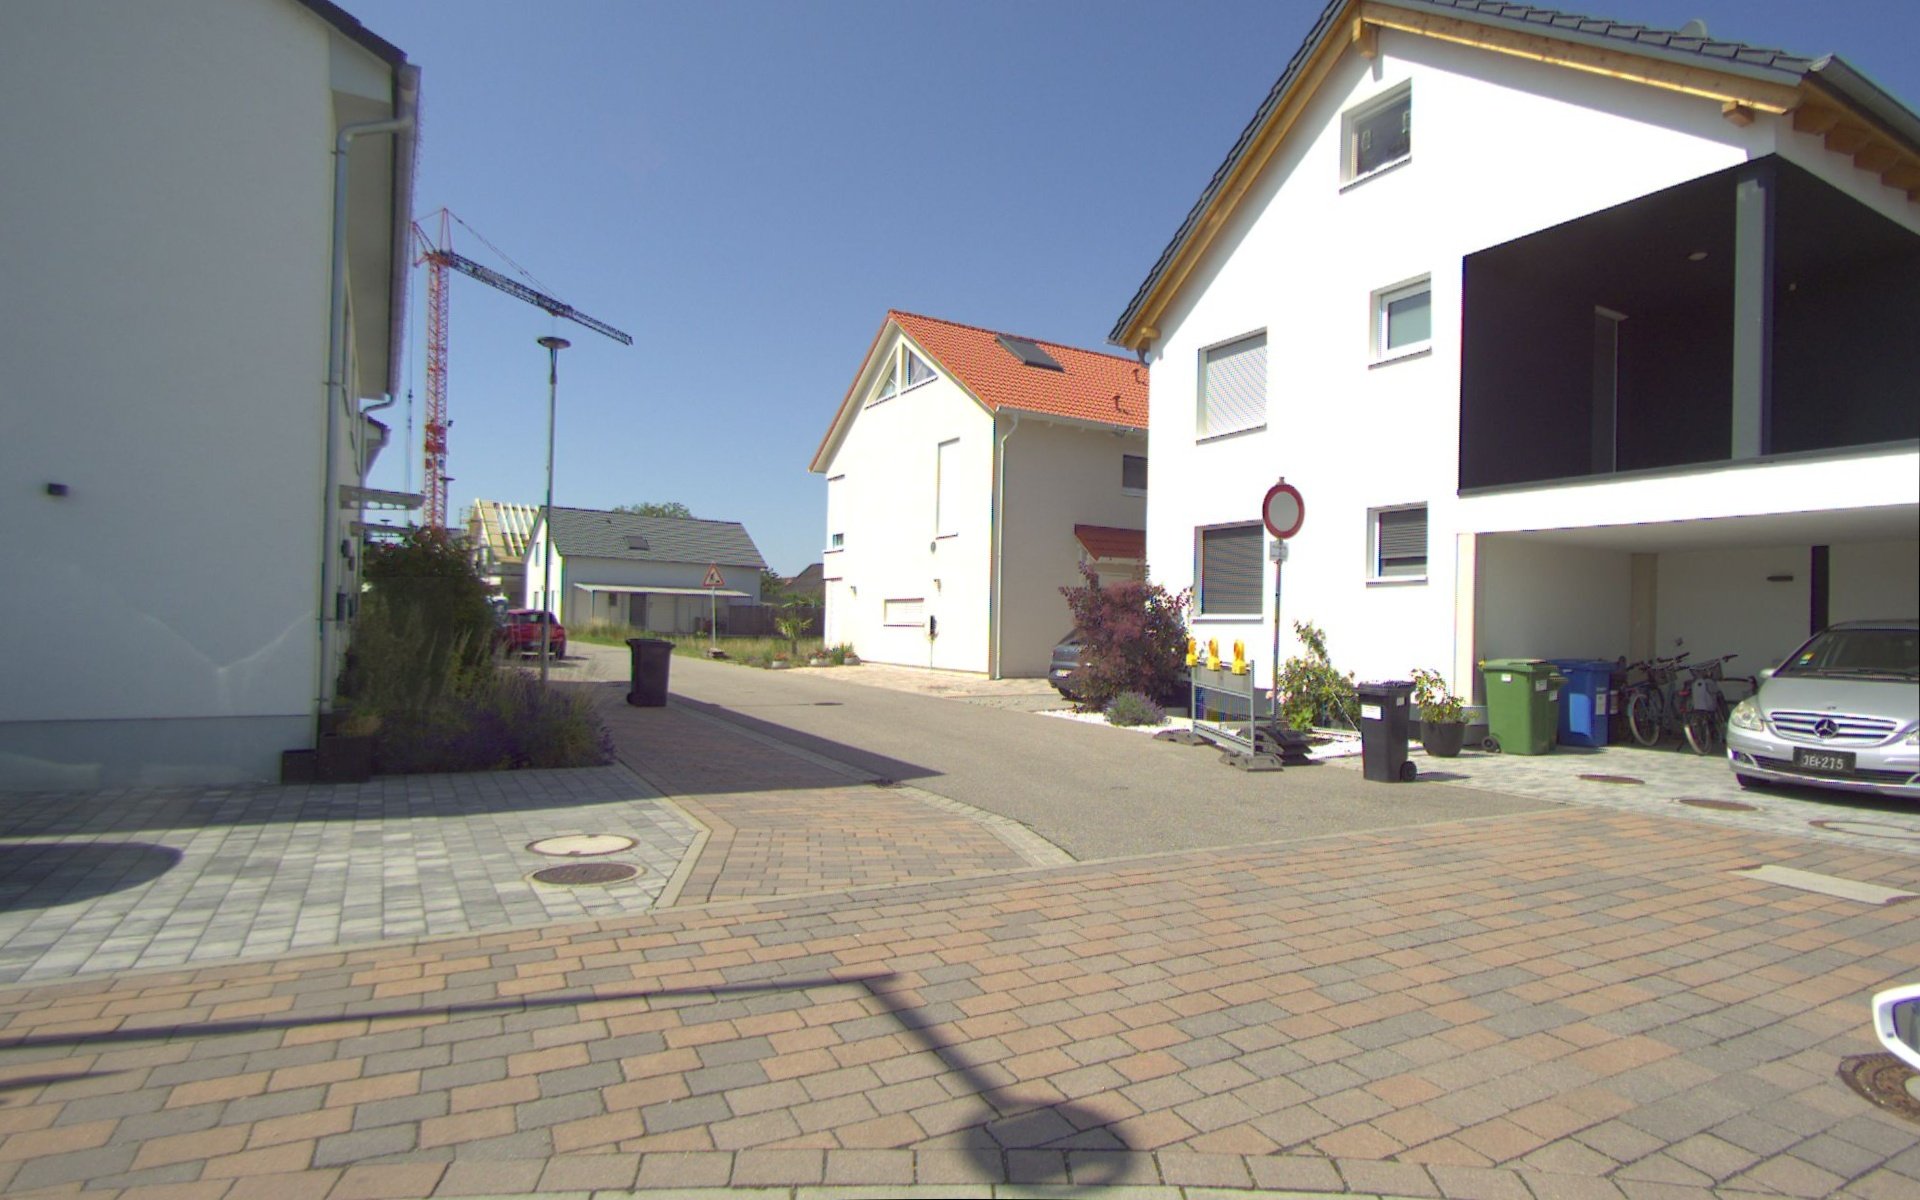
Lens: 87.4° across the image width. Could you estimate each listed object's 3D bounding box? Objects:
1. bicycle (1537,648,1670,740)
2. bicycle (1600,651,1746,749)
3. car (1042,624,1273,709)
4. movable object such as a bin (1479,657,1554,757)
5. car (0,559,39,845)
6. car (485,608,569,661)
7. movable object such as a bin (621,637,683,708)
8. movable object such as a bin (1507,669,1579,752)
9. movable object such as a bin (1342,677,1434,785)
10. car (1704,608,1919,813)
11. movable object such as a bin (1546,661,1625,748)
[{"bbox_3d":[8.795,1.240,13.699,2.112,1.141,0.771,2,0,-35],"label":"bicycle"},{"bbox_3d":[9.174,1.245,12.897,2.108,1.141,0.725,2,0,-31],"label":"bicycle"},{"bbox_3d":[3.646,1.180,18.393,4.014,1.398,1.741,2,-2,-31],"label":"car"},{"bbox_3d":[6.475,1.224,11.697,0.494,1.106,0.597,2,-3,-31],"label":"movable object such as a bin"},{"bbox_3d":[-6.930,0.492,4.070,4.298,1.578,1.946,2,-2,-29],"label":"car"},{"bbox_3d":[-13.611,1.054,31.479,1.891,1.498,3.966,2,0,-31],"label":"car"},{"bbox_3d":[-4.927,1.146,16.048,0.815,1.079,0.585,2,0,-31],"label":"movable object such as a bin"},{"bbox_3d":[6.969,1.305,12.015,0.494,0.917,0.556,2,0,-31],"label":"movable object such as a bin"},{"bbox_3d":[4.077,1.224,9.579,0.611,0.949,0.560,1,-2,-31],"label":"movable object such as a bin"},{"bbox_3d":[8.859,0.944,9.379,4.120,1.582,1.730,3,-2,-33],"label":"car"},{"bbox_3d":[7.769,1.280,12.484,0.494,1.000,0.671,2,0,-31],"label":"movable object such as a bin"}]
